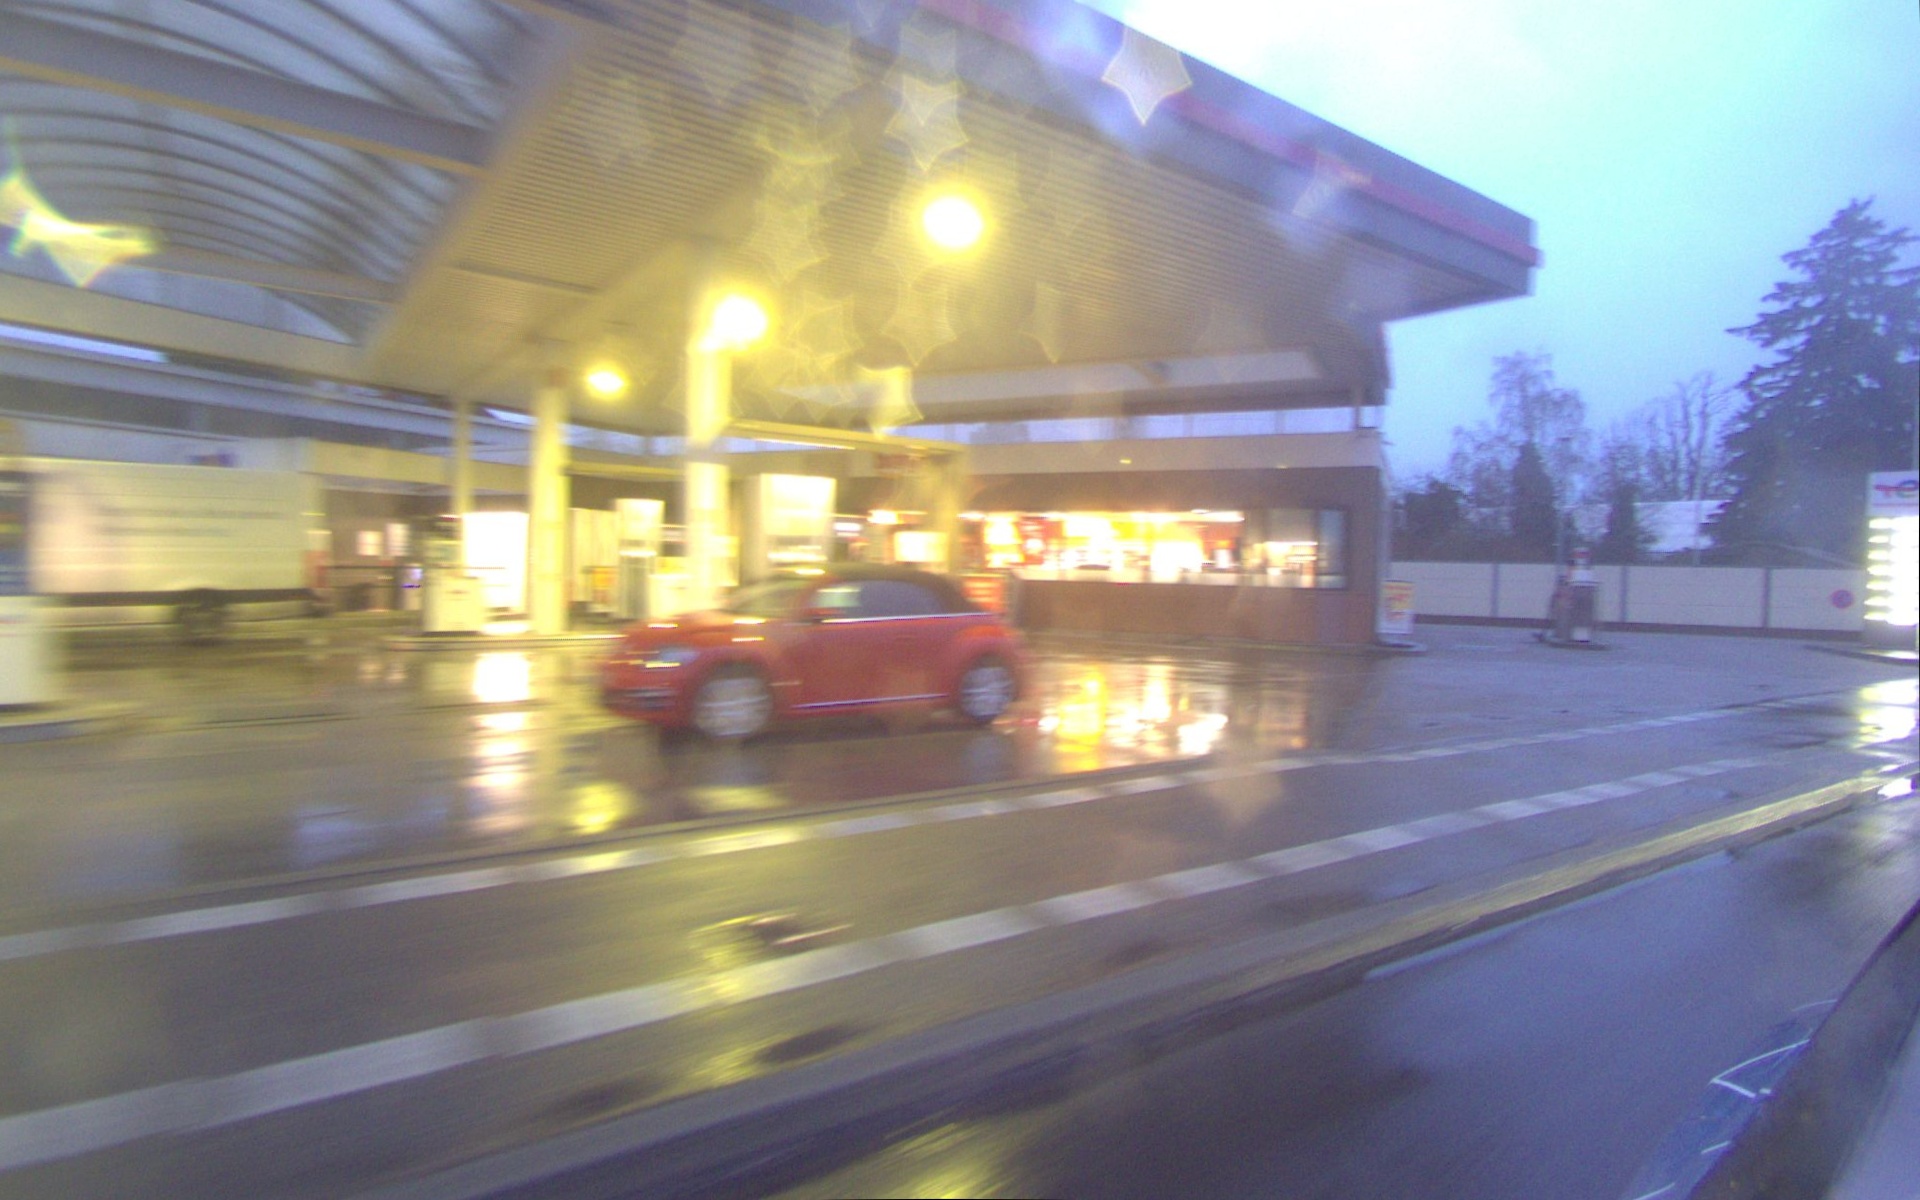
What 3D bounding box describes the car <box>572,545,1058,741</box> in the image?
[{"bbox_3d":[-1.204,0.271,9.199,4.089,1.413,1.579,0,3,-34],"label":"car"}]
